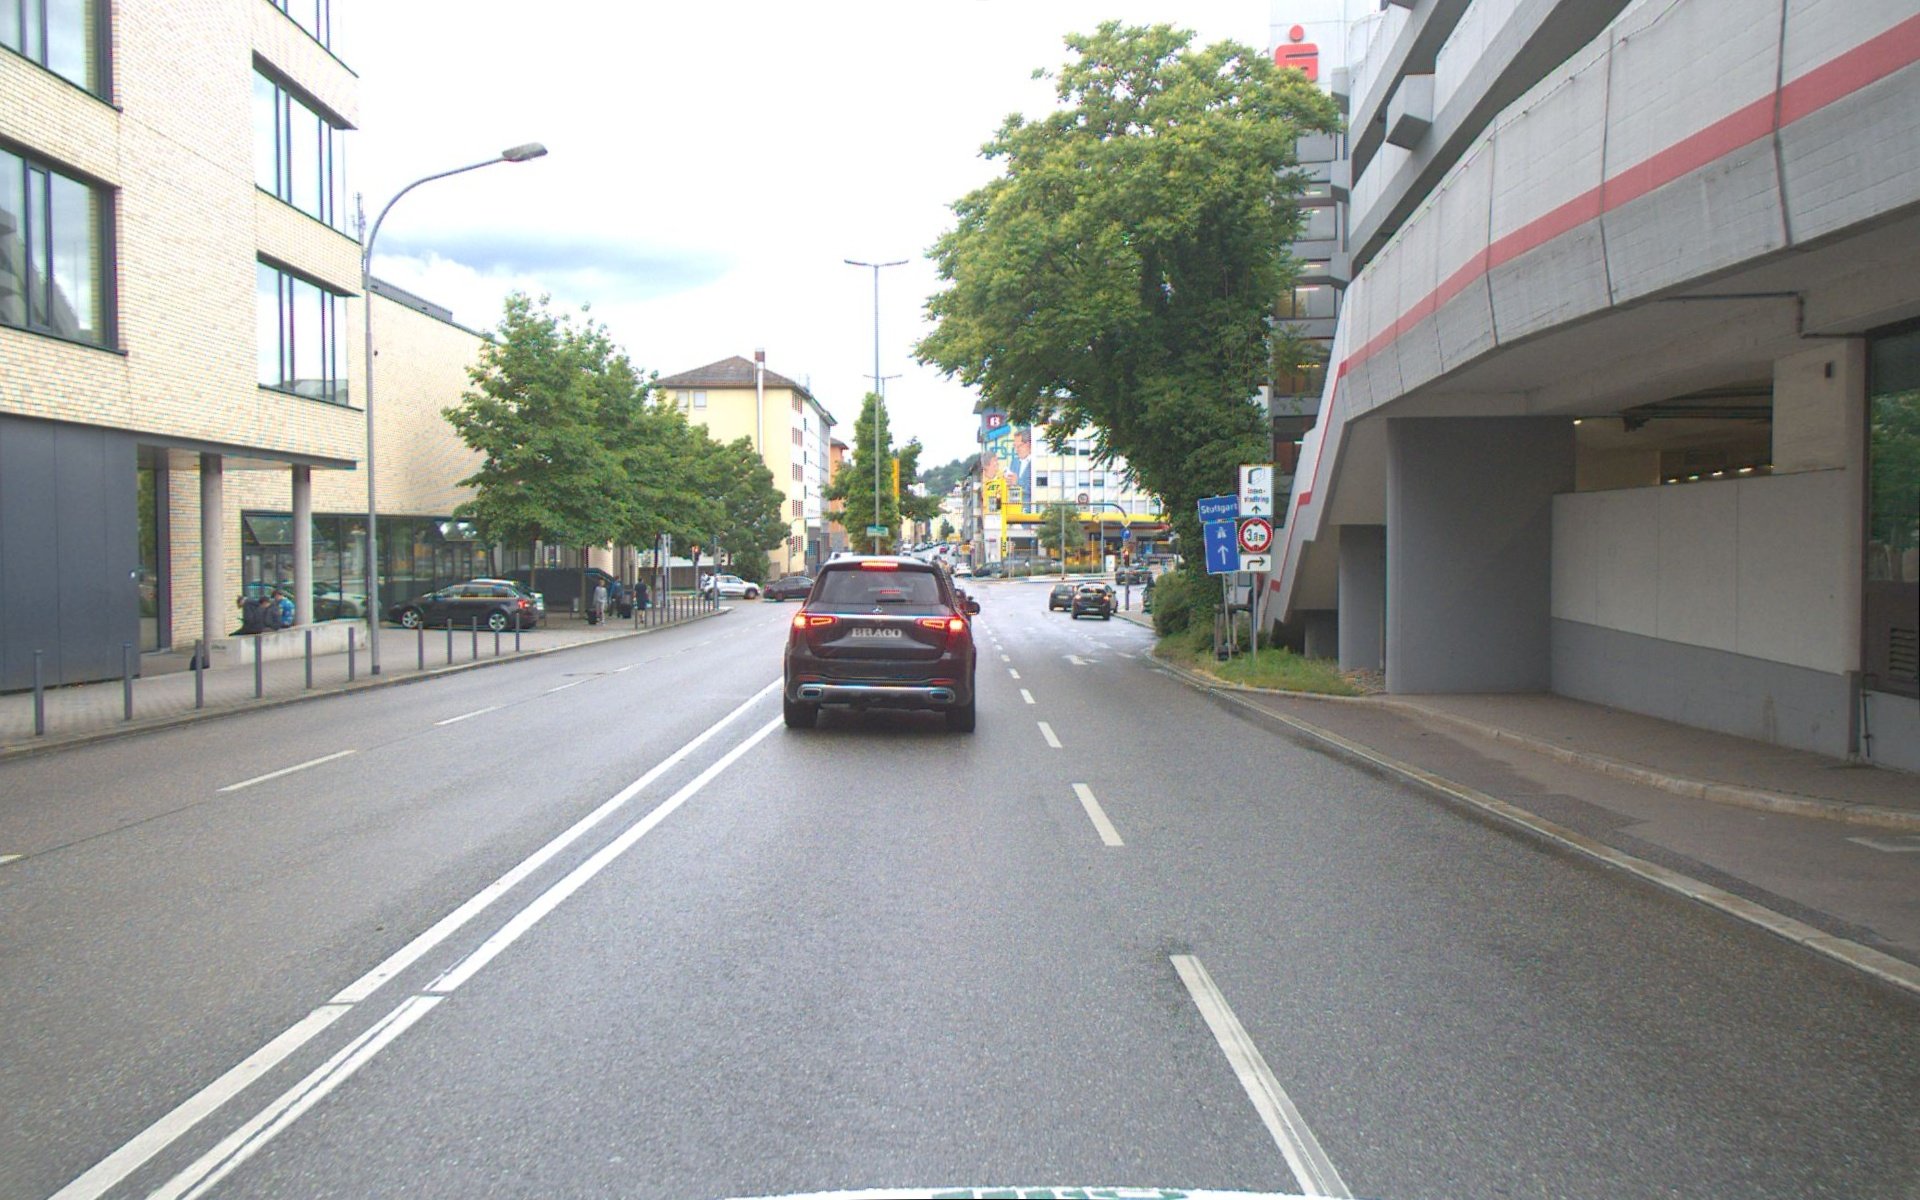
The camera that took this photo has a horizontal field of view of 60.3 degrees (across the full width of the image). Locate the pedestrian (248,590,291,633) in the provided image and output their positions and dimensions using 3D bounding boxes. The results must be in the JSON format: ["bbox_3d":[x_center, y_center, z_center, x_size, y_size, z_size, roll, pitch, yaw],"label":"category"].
[{"bbox_3d":[-14.086,0.239,33.761,0.574,0.859,0.727,1,0,-1],"label":"pedestrian"}]

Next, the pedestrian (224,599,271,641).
[{"bbox_3d":[-14.154,0.396,32.884,0.585,0.800,0.760,2,0,-1],"label":"pedestrian"}]

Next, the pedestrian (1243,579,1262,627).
[{"bbox_3d":[9.711,0.110,54.958,0.539,1.559,0.488,2,0,6],"label":"pedestrian"}]

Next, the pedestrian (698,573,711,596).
[{"bbox_3d":[-16.208,-0.982,104.830,0.697,1.487,0.598,2,0,-2],"label":"pedestrian"}]

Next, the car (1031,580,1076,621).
[{"bbox_3d":[4.860,0.035,86.469,1.953,2.049,3.998,2,0,-2],"label":"car"}]

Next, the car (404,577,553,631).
[{"bbox_3d":[-15.700,0.111,54.110,4.331,1.601,1.998,1,2,-6],"label":"car"}]

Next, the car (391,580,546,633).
[{"bbox_3d":[-15.384,0.197,51.972,4.383,1.615,1.997,0,1,-7],"label":"car"}]

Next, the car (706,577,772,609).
[{"bbox_3d":[-13.717,-0.415,102.651,3.917,1.976,1.994,0,0,-13],"label":"car"}]

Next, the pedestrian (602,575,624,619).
[{"bbox_3d":[-14.018,-0.118,66.839,0.674,1.756,0.754,2,-1,-2],"label":"pedestrian"}]

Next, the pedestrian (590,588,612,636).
[{"bbox_3d":[-13.107,0.441,60.340,0.662,1.726,0.479,2,0,-2],"label":"pedestrian"}]

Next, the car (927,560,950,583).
[{"bbox_3d":[-1.982,-2.587,150.018,1.953,2.048,3.999,2,1,-2],"label":"car"}]

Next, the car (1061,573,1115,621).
[{"bbox_3d":[5.705,-0.086,74.297,1.953,2.049,3.998,1,-1,-2],"label":"car"}]

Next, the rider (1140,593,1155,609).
[{"bbox_3d":[9.075,0.049,80.069,0.617,0.753,0.696,2,0,15],"label":"rider"}]

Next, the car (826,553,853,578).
[{"bbox_3d":[-10.023,-2.842,138.008,1.953,1.908,5.139,2,0,-2],"label":"car"}]

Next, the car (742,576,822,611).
[{"bbox_3d":[-10.646,-0.392,98.673,4.715,2.049,1.997,0,1,-8],"label":"car"}]

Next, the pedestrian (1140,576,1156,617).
[{"bbox_3d":[9.099,-0.187,80.080,0.648,1.951,0.729,2,0,13],"label":"pedestrian"}]

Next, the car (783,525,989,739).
[{"bbox_3d":[-0.779,0.320,18.215,1.953,2.049,3.999,2,0,-2],"label":"car"}]

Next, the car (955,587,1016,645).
[{"bbox_3d":[0.778,0.506,53.236,1.669,1.746,3.441,2,0,-4],"label":"car"}]

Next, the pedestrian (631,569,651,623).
[{"bbox_3d":[-12.118,-0.154,62.840,0.576,2.049,0.749,2,0,-2],"label":"pedestrian"}]

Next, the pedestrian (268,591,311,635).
[{"bbox_3d":[-14.172,0.279,34.946,0.667,0.901,0.524,2,0,-1],"label":"pedestrian"}]
